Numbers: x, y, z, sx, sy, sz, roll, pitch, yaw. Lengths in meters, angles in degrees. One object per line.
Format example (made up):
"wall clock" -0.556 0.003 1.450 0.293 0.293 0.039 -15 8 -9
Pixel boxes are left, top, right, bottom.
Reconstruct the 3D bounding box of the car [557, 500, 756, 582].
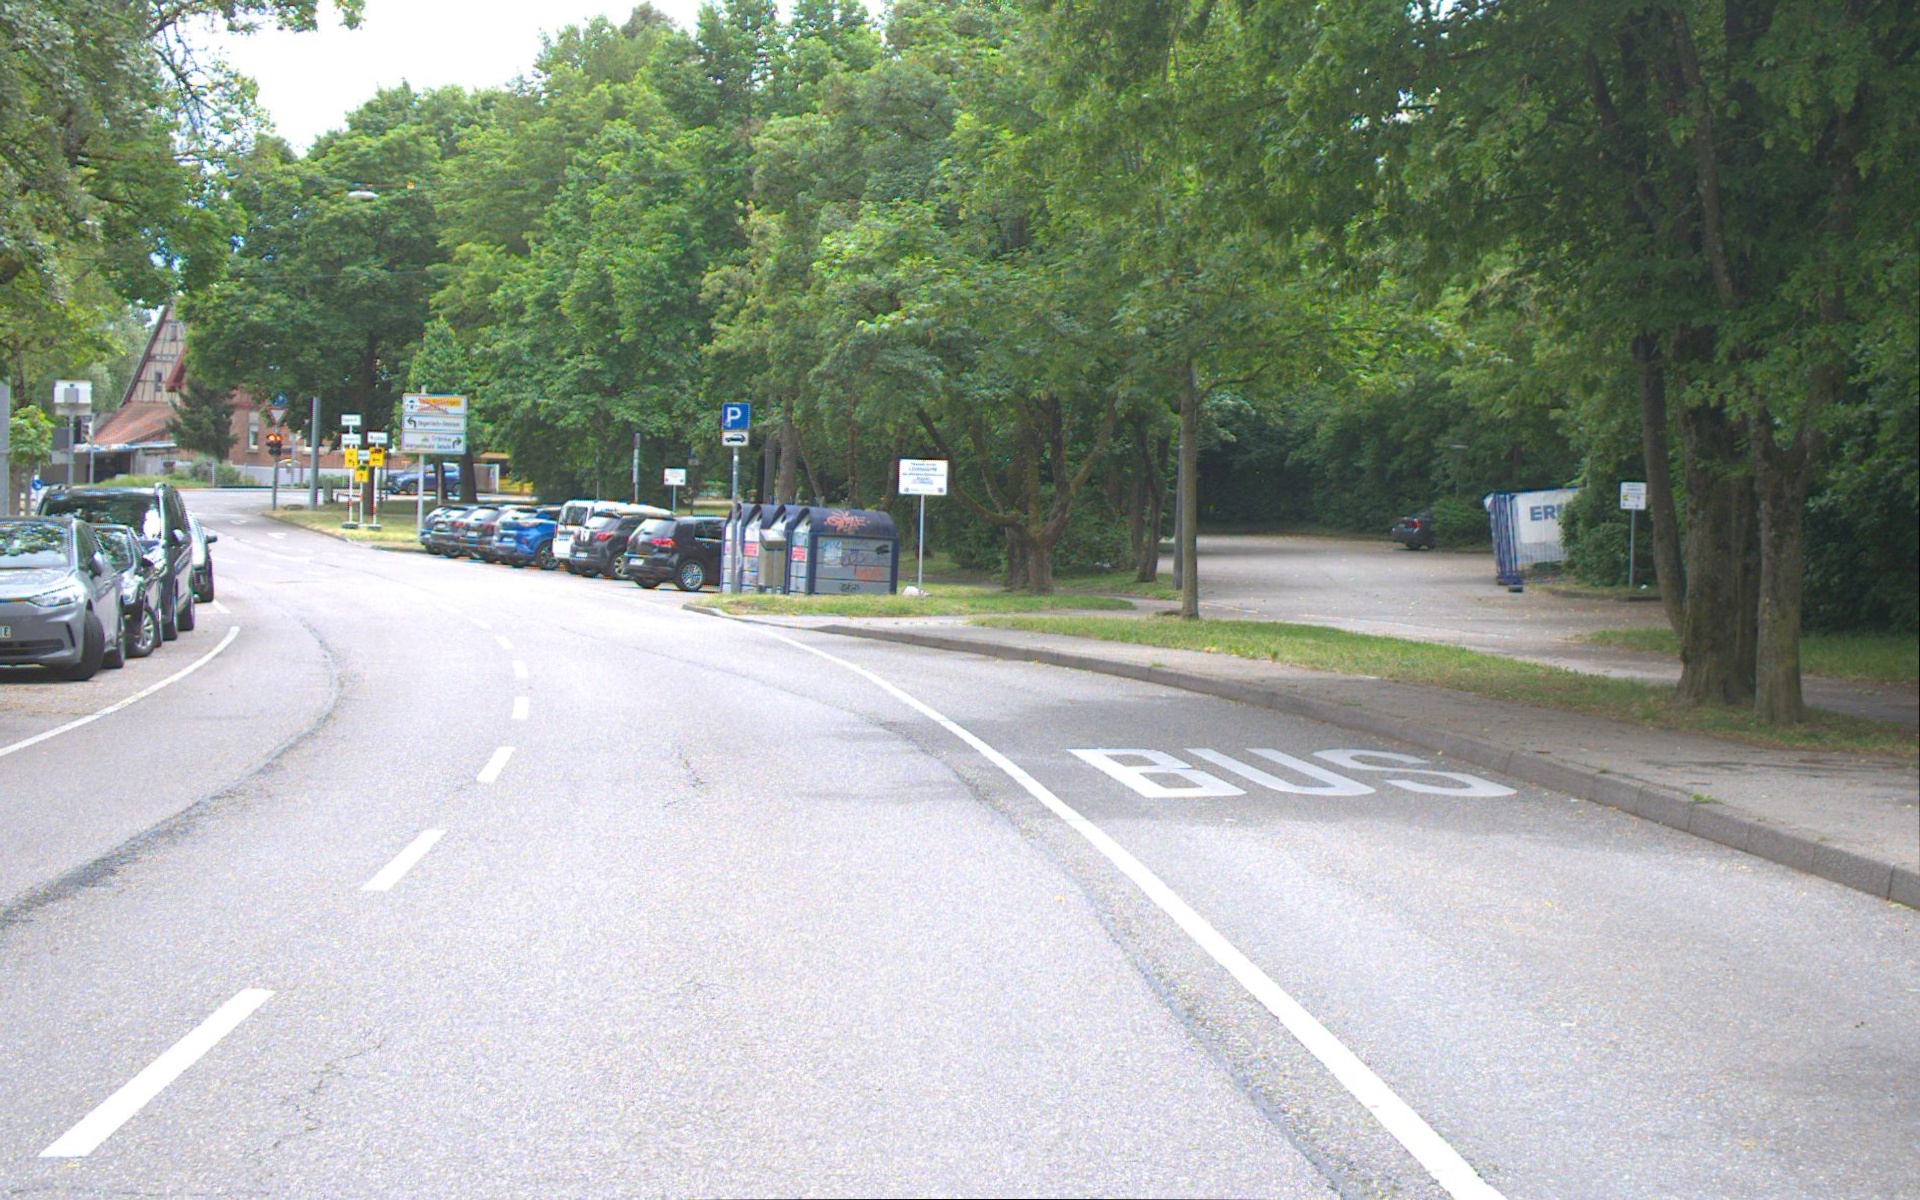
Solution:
"car" -6.529 -1.265 74.124 3.819 1.463 1.746 3 1 -35

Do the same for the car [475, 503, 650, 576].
"car" -9.702 -1.478 84.004 3.819 1.523 1.746 3 0 -35

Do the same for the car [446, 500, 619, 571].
"car" -10.664 -1.611 85.849 3.819 1.523 1.746 3 0 -35

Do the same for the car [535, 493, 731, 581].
"car" -7.291 -1.405 76.717 3.819 1.714 1.878 3 0 -35

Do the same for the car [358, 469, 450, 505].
"car" -26.489 -5.378 163.836 3.846 1.641 2.000 0 3 -36

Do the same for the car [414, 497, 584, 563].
"car" -11.895 -1.804 88.783 3.873 1.421 1.830 3 0 -35

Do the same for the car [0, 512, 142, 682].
"car" -9.104 -0.078 33.332 1.866 1.532 4.228 1 1 -8

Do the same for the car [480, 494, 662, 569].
"car" -9.174 -1.617 81.112 3.819 1.523 1.746 3 0 -35

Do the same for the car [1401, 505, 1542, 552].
"car" 16.041 -2.244 107.850 3.986 1.405 1.801 1 1 -10

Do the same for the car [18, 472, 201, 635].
"car" -10.623 -0.616 43.239 1.857 1.902 5.084 1 1 -10

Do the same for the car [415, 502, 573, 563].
"car" -12.675 -1.827 93.534 3.819 1.420 1.746 3 0 -35

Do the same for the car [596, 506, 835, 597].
"car" -4.683 -0.928 66.005 3.987 1.409 2.058 3 2 -35

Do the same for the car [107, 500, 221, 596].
"car" -13.869 -0.928 59.800 1.804 1.557 4.268 -2 2 -14
